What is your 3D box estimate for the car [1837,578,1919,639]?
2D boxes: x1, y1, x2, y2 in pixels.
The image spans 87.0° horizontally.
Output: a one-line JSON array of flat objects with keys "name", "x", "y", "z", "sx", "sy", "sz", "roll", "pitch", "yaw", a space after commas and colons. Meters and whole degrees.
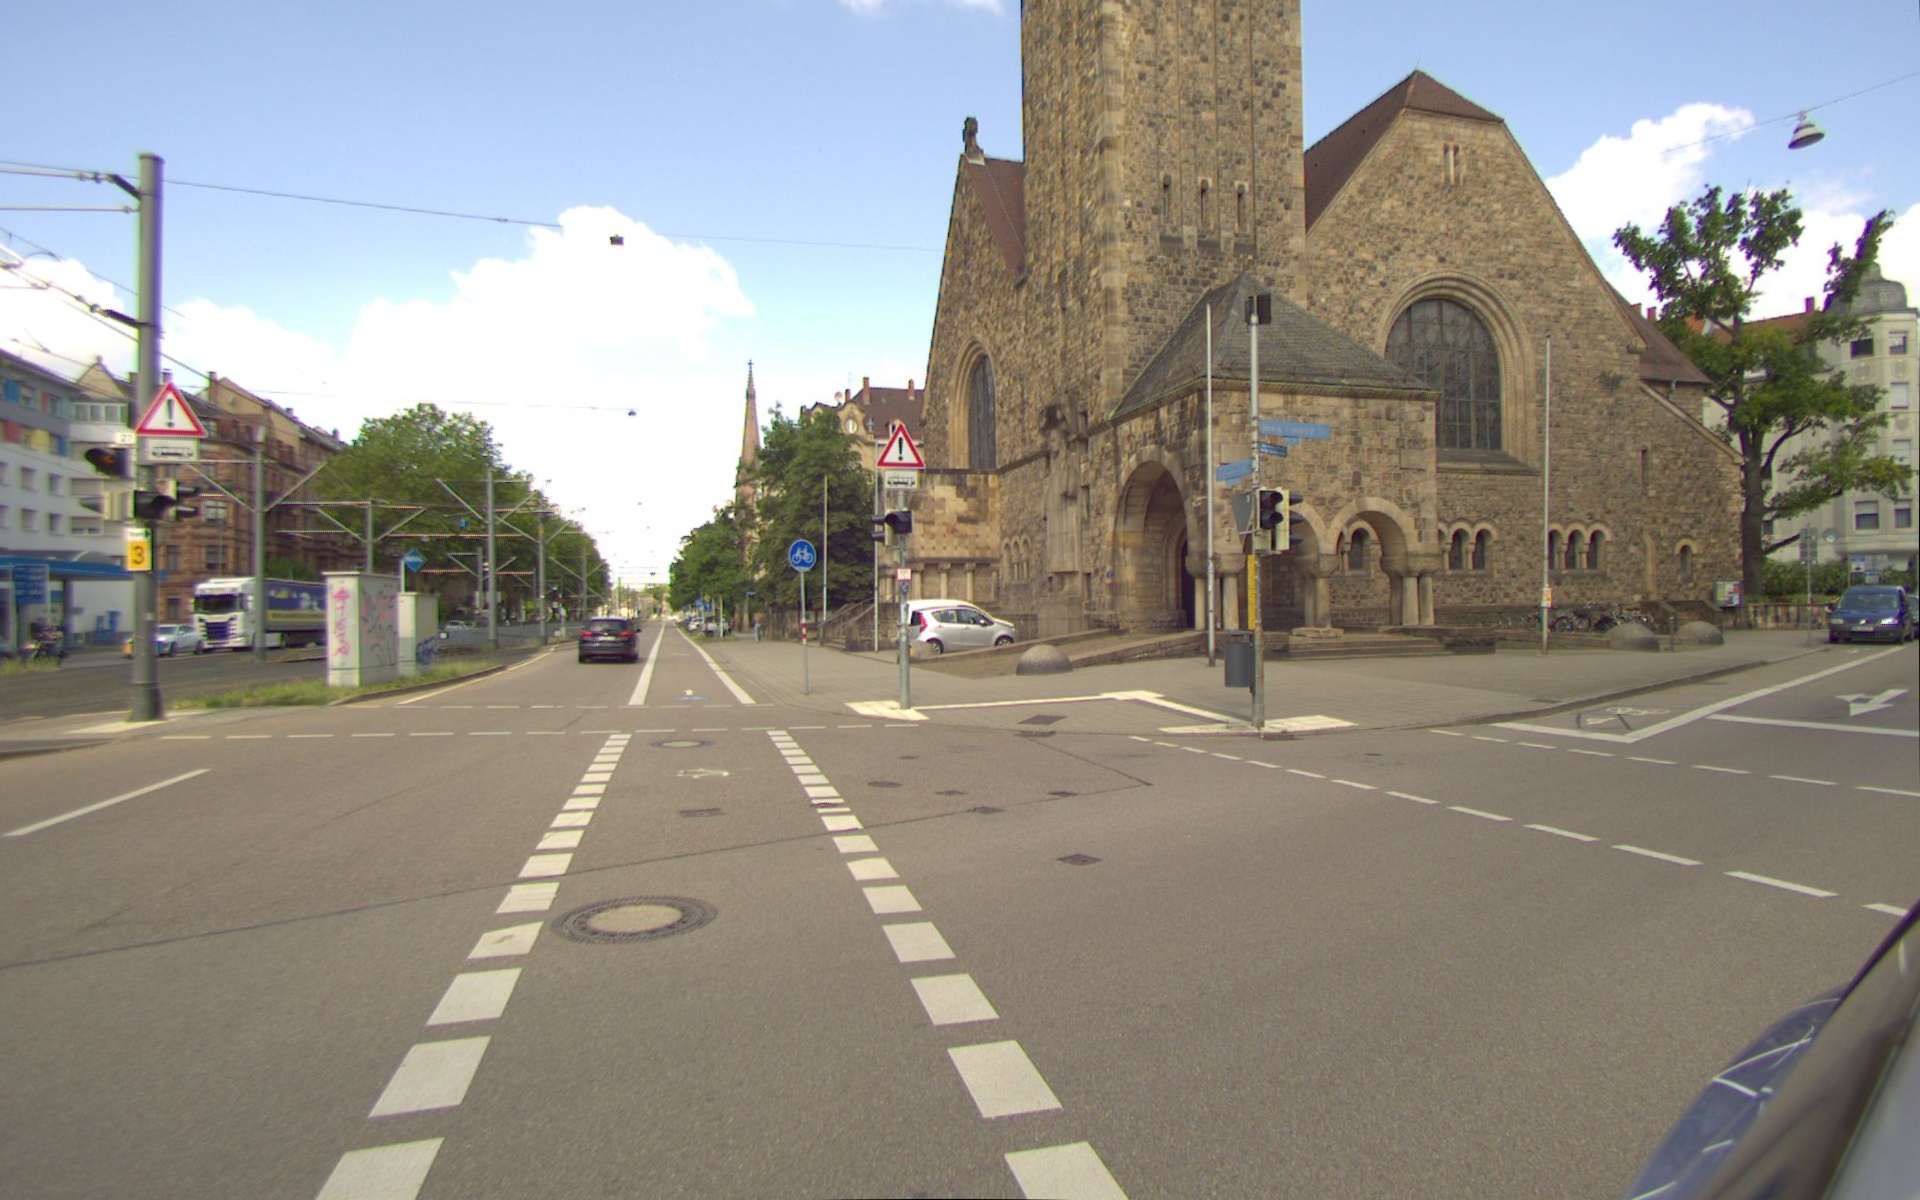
[{"name": "car", "x": 29.171, "y": 0.241, "z": 31.894, "sx": 4.072, "sy": 1.814, "sz": 1.682, "roll": 0, "pitch": -1, "yaw": -40}]

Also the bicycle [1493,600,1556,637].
[{"name": "bicycle", "x": 19.094, "y": 0.620, "z": 34.281, "sx": 0.574, "sy": 1.126, "sz": 1.944, "roll": -1, "pitch": 2, "yaw": -19}]

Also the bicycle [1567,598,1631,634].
[{"name": "bicycle", "x": 22.183, "y": 0.545, "z": 35.191, "sx": 0.574, "sy": 1.126, "sz": 1.944, "roll": -1, "pitch": 2, "yaw": -19}]

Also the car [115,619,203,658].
[{"name": "car", "x": -38.498, "y": 1.828, "z": 48.758, "sx": 1.815, "sy": 1.727, "sz": 4.142, "roll": -1, "pitch": -1, "yaw": -15}]

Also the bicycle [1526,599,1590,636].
[{"name": "bicycle", "x": 20.544, "y": 0.585, "z": 34.809, "sx": 0.574, "sy": 1.126, "sz": 1.944, "roll": -1, "pitch": 2, "yaw": -19}]

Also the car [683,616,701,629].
[{"name": "car", "x": -26.055, "y": 2.167, "z": 98.342, "sx": 1.621, "sy": 1.249, "sz": 3.069, "roll": -1, "pitch": -1, "yaw": -16}]

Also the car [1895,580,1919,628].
[{"name": "car", "x": 37.645, "y": 0.121, "z": 39.133, "sx": 3.929, "sy": 1.814, "sz": 1.682, "roll": 0, "pitch": -1, "yaw": -40}]

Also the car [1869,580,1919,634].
[{"name": "car", "x": 33.089, "y": 0.219, "z": 35.158, "sx": 3.929, "sy": 1.814, "sz": 1.682, "roll": 0, "pitch": -1, "yaw": -40}]

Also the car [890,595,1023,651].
[{"name": "car", "x": -0.142, "y": 0.811, "z": 35.171, "sx": 4.214, "sy": 1.878, "sz": 2.003, "roll": 0, "pitch": -2, "yaw": -16}]

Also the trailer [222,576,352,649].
[{"name": "trailer", "x": -42.059, "y": 0.711, "z": 63.835, "sx": 2.857, "sy": 4.129, "sz": 11.672, "roll": -1, "pitch": 0, "yaw": -13}]

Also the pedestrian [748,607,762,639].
[{"name": "pedestrian", "x": -11.124, "y": 1.244, "z": 54.902, "sx": 0.645, "sy": 1.686, "sz": 0.847, "roll": -1, "pitch": -1, "yaw": -14}]

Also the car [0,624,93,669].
[{"name": "car", "x": -35.563, "y": 1.766, "z": 39.144, "sx": 1.651, "sy": 1.583, "sz": 3.760, "roll": -1, "pitch": -1, "yaw": -16}]

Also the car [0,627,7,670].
[{"name": "car", "x": -33.693, "y": 1.704, "z": 33.212, "sx": 1.816, "sy": 1.465, "sz": 3.981, "roll": -1, "pitch": 0, "yaw": -15}]

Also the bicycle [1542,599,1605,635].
[{"name": "bicycle", "x": 21.212, "y": 0.569, "z": 35.026, "sx": 0.574, "sy": 1.126, "sz": 1.944, "roll": -1, "pitch": 2, "yaw": -19}]

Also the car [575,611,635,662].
[{"name": "car", "x": -11.608, "y": 1.154, "z": 33.258, "sx": 1.747, "sy": 1.554, "sz": 4.394, "roll": 0, "pitch": -1, "yaw": -18}]

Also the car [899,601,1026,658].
[{"name": "car", "x": 0.071, "y": 0.925, "z": 31.570, "sx": 3.561, "sy": 1.700, "sz": 1.822, "roll": 1, "pitch": -3, "yaw": -19}]

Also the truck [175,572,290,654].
[{"name": "truck", "x": -40.338, "y": 0.685, "z": 56.368, "sx": 2.856, "sy": 4.202, "sz": 6.603, "roll": -1, "pitch": 0, "yaw": -13}]

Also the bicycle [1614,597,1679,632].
[{"name": "bicycle", "x": 24.366, "y": 0.493, "z": 35.946, "sx": 0.574, "sy": 1.126, "sz": 1.944, "roll": -1, "pitch": 2, "yaw": -19}]

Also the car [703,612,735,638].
[{"name": "car", "x": -15.126, "y": 1.578, "z": 63.431, "sx": 1.752, "sy": 1.514, "sz": 3.844, "roll": -1, "pitch": -1, "yaw": -16}]

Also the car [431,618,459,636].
[{"name": "car", "x": -53.192, "y": 2.772, "z": 104.536, "sx": 1.766, "sy": 1.651, "sz": 4.008, "roll": -1, "pitch": 0, "yaw": -15}]

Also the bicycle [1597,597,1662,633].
[{"name": "bicycle", "x": 23.608, "y": 0.511, "z": 35.733, "sx": 0.574, "sy": 1.126, "sz": 1.944, "roll": -1, "pitch": 2, "yaw": -19}]

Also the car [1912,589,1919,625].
[{"name": "car", "x": 41.308, "y": 0.254, "z": 42.349, "sx": 3.731, "sy": 1.465, "sz": 1.682, "roll": 0, "pitch": -1, "yaw": -40}]
